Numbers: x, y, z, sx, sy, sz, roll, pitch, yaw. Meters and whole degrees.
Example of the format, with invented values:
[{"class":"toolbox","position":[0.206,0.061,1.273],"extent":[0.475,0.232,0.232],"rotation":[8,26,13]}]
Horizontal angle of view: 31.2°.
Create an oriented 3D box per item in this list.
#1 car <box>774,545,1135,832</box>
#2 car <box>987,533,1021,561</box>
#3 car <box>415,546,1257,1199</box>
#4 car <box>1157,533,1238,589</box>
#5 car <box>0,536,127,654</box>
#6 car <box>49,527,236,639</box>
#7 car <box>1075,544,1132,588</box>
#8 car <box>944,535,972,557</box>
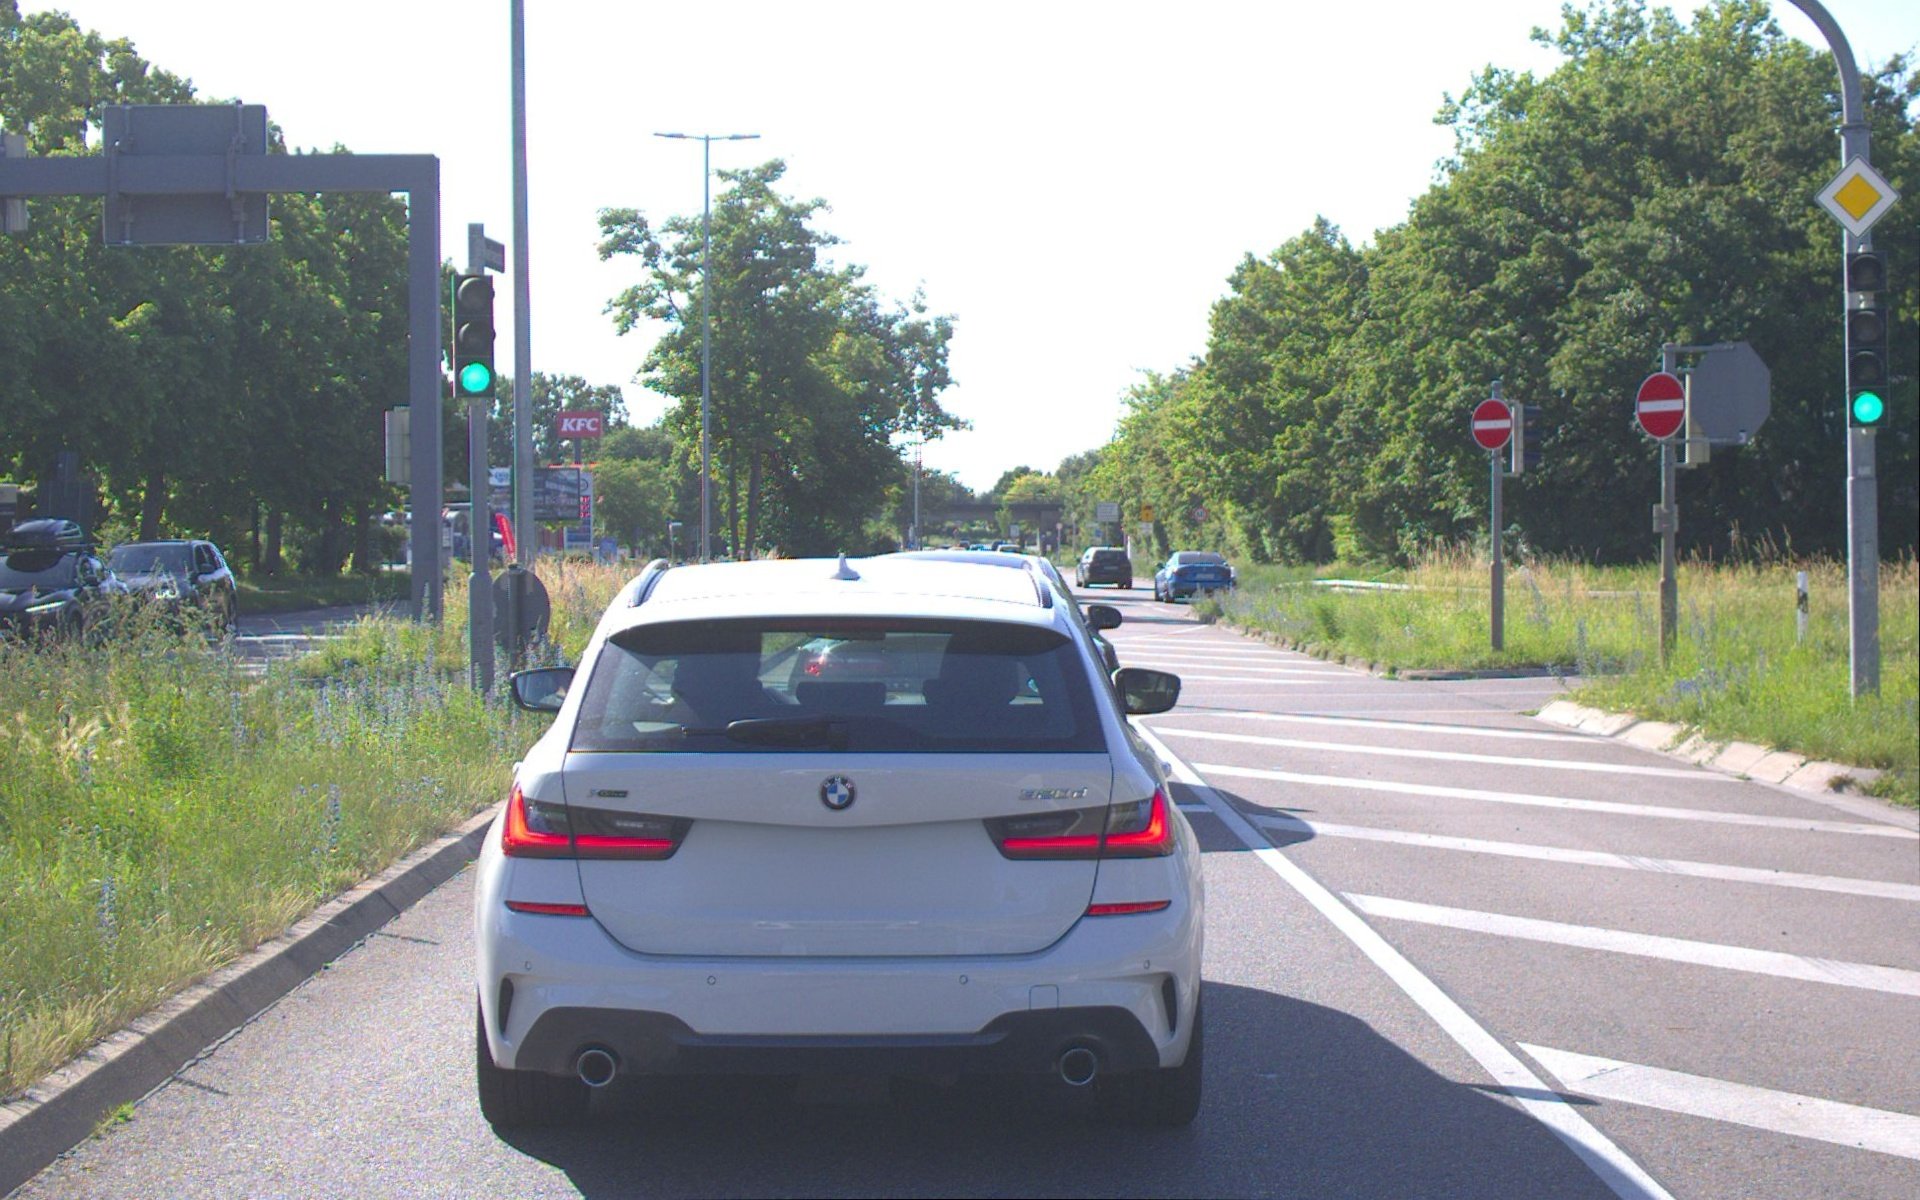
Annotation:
[{"class":"car","position":[-0.046,0.424,20.100],"extent":[1.861,1.450,4.548],"rotation":[-1,1,0]},{"class":"car","position":[2.509,-3.039,197.425],"extent":[1.861,1.560,4.548],"rotation":[-1,1,0]},{"class":"car","position":[-0.271,0.589,9.932],"extent":[1.861,1.450,4.548],"rotation":[-1,1,0]},{"class":"car","position":[6.451,-1.075,93.786],"extent":[1.861,1.494,4.337],"rotation":[0,1,0]},{"class":"car","position":[-13.104,-0.083,47.803],"extent":[1.876,1.537,4.573],"rotation":[-2,1,0]},{"class":"car","position":[-13.350,-0.317,56.408],"extent":[1.942,1.691,4.630],"rotation":[-2,1,0]},{"class":"car","position":[5.225,-1.248,125.611],"extent":[1.771,1.550,3.833],"rotation":[-1,1,-2]},{"class":"car","position":[-0.151,-3.816,243.152],"extent":[1.861,1.560,4.548],"rotation":[-1,1,0]}]
